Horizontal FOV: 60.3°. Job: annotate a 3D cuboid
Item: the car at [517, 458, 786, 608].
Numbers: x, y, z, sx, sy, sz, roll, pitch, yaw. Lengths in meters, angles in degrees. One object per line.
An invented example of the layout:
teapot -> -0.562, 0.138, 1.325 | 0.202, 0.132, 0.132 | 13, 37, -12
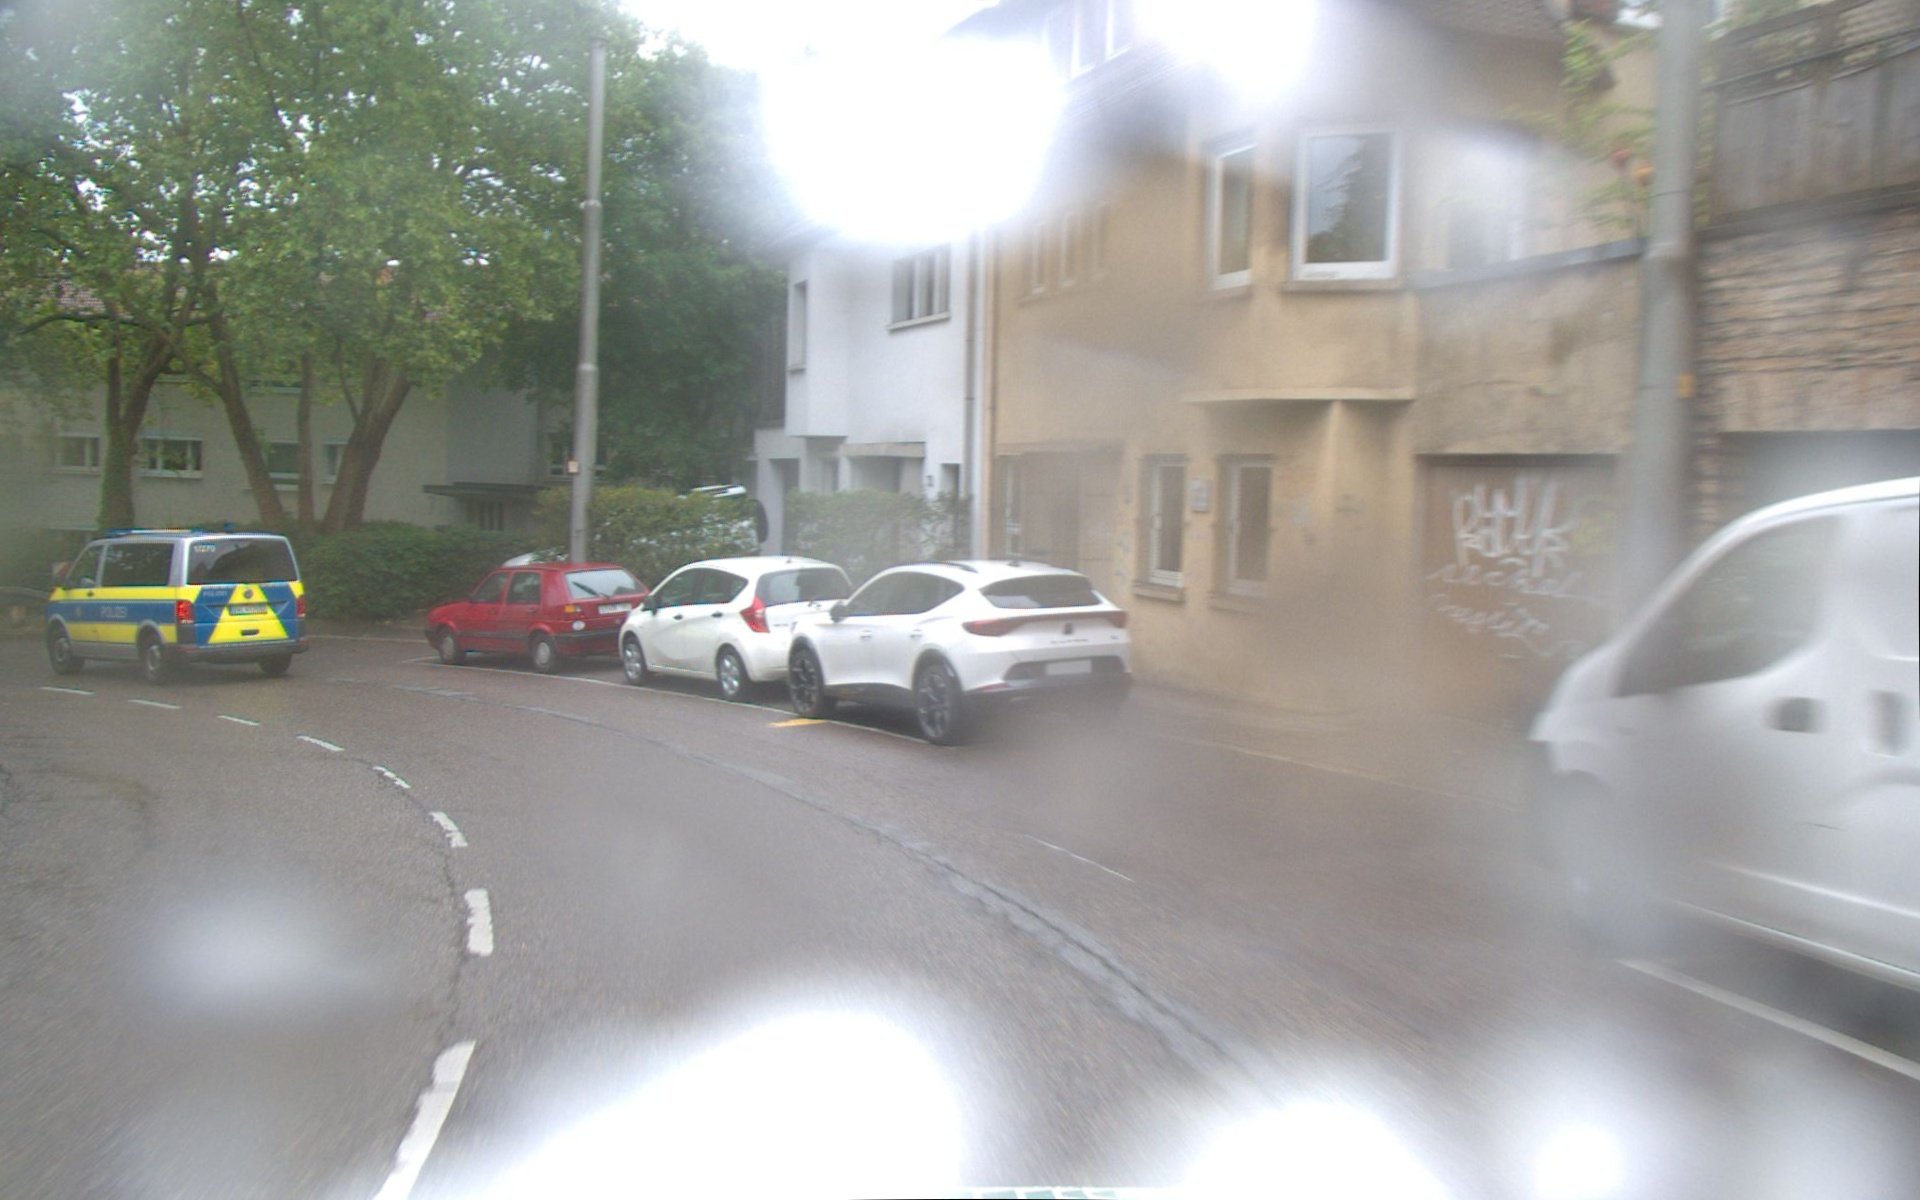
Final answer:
car -> -5.614, -1.266, 30.050 | 4.337, 1.871, 1.990 | -12, 7, -19

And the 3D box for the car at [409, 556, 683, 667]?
car -> -5.918, 0.141, 23.399 | 4.122, 1.391, 1.775 | -1, 2, 43

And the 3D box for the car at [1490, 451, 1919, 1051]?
car -> 3.645, 0.421, 5.554 | 1.675, 1.822, 4.315 | -2, 2, -11

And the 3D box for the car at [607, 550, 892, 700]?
car -> -2.575, 0.217, 19.565 | 1.751, 1.541, 3.776 | -3, 3, -35

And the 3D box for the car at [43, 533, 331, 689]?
car -> -10.964, 0.067, 23.336 | 4.487, 1.926, 1.989 | 1, 4, 41

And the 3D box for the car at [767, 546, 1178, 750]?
car -> -0.057, 0.349, 15.501 | 1.894, 1.565, 4.370 | -3, 2, -30
